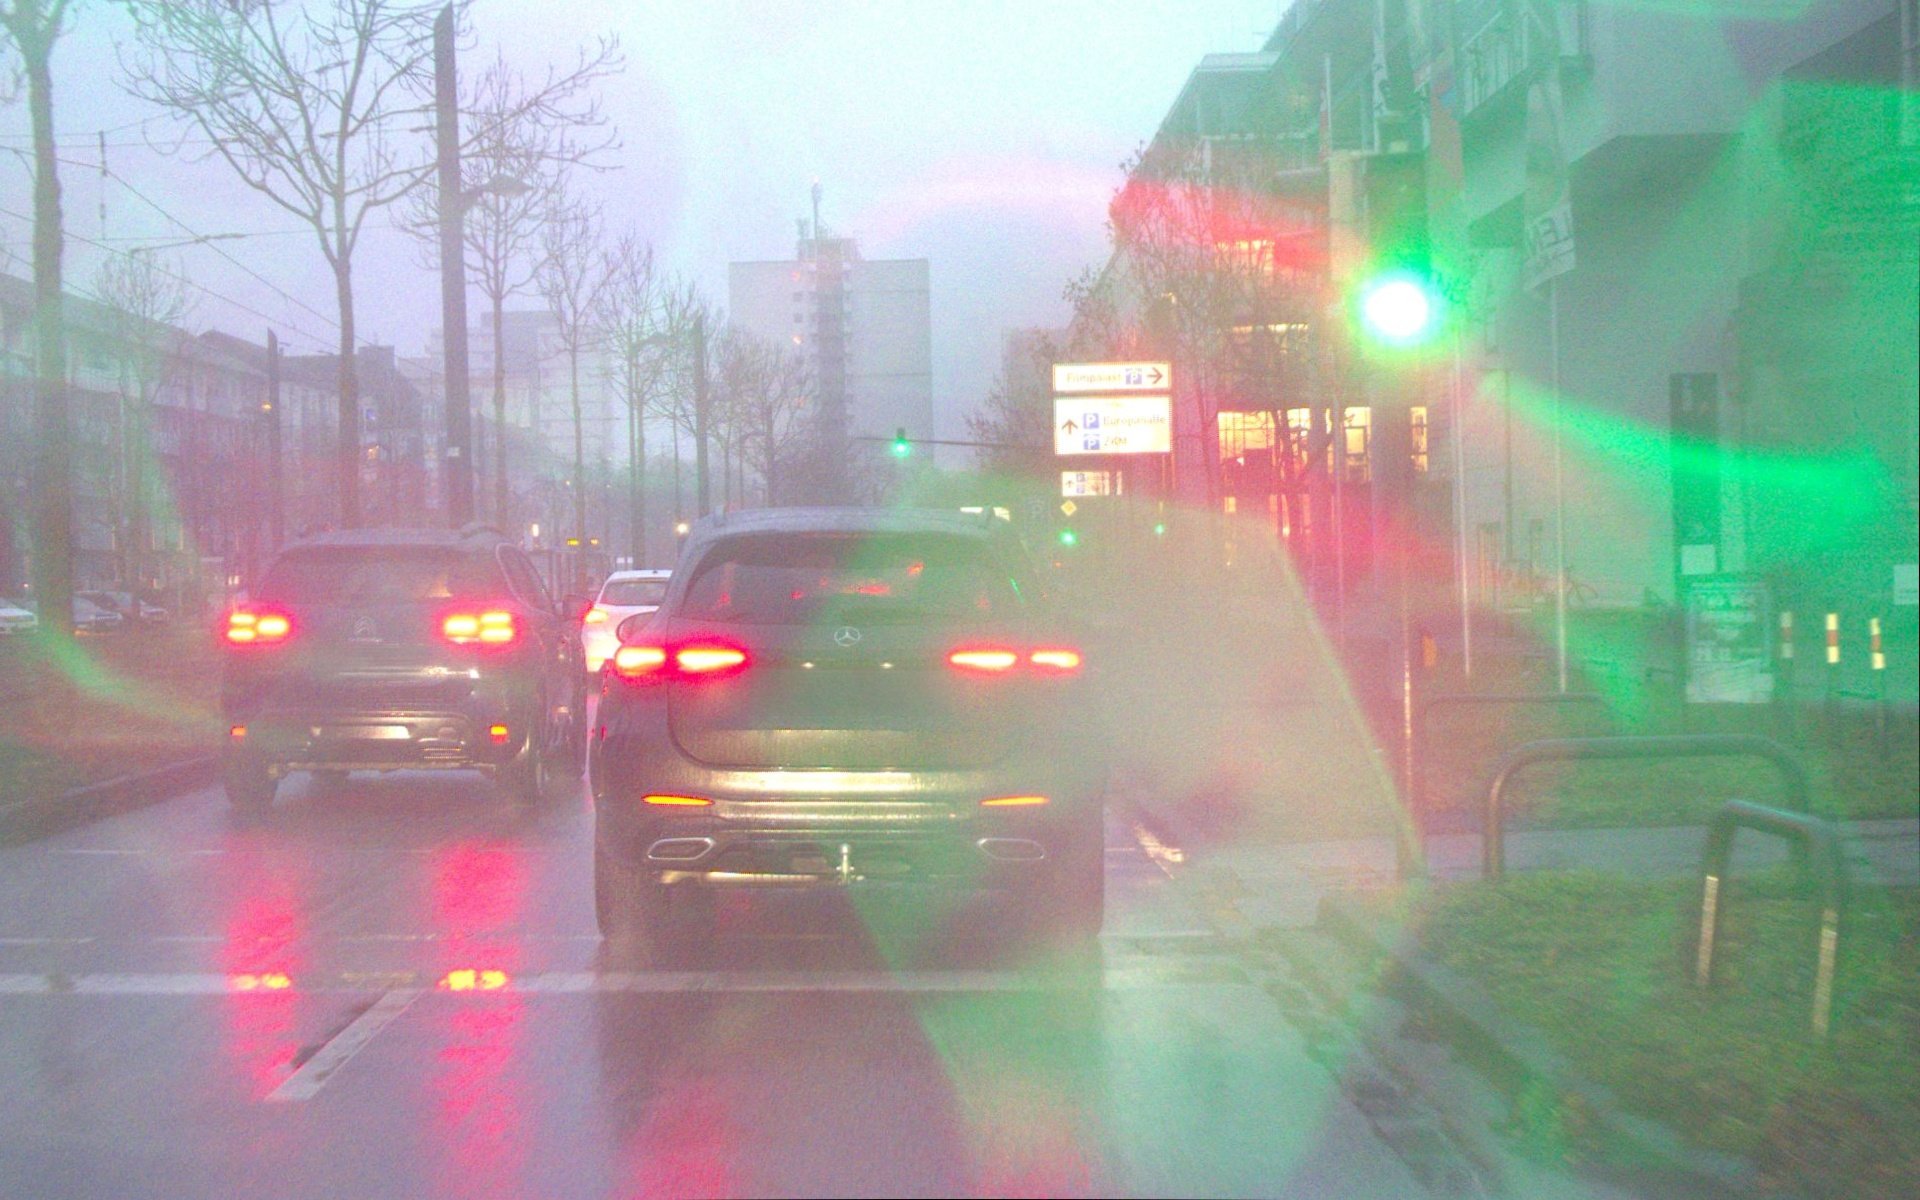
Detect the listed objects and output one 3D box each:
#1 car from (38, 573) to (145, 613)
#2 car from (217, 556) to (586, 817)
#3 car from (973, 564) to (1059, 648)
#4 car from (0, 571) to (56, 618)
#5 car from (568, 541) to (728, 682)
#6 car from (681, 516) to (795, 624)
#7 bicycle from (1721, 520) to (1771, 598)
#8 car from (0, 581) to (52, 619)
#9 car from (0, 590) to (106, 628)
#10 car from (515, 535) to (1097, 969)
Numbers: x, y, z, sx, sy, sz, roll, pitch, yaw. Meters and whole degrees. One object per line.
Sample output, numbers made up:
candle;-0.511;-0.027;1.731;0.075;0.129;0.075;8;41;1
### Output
car;-29.938;-0.254;118.523;3.763;1.332;1.450;0;1;35
car;-3.357;0.460;21.339;1.817;1.445;4.001;1;1;-3
car;1.234;0.105;74.115;1.639;1.722;4.000;1;1;4
car;-29.649;-0.202;104.927;4.119;1.373;1.769;1;1;36
car;-3.767;0.115;41.924;1.689;1.630;3.474;1;1;-1
car;-3.730;-0.494;58.229;1.662;1.753;3.568;1;0;0
bicycle;13.233;-0.687;57.828;0.411;1.280;1.742;1;1;26
car;-29.997;-0.012;107.466;3.040;1.143;1.395;1;1;30
car;-29.733;0.281;111.032;4.183;1.112;1.678;1;1;30
car;-0.568;0.511;13.734;1.993;1.478;3.700;1;0;-1
